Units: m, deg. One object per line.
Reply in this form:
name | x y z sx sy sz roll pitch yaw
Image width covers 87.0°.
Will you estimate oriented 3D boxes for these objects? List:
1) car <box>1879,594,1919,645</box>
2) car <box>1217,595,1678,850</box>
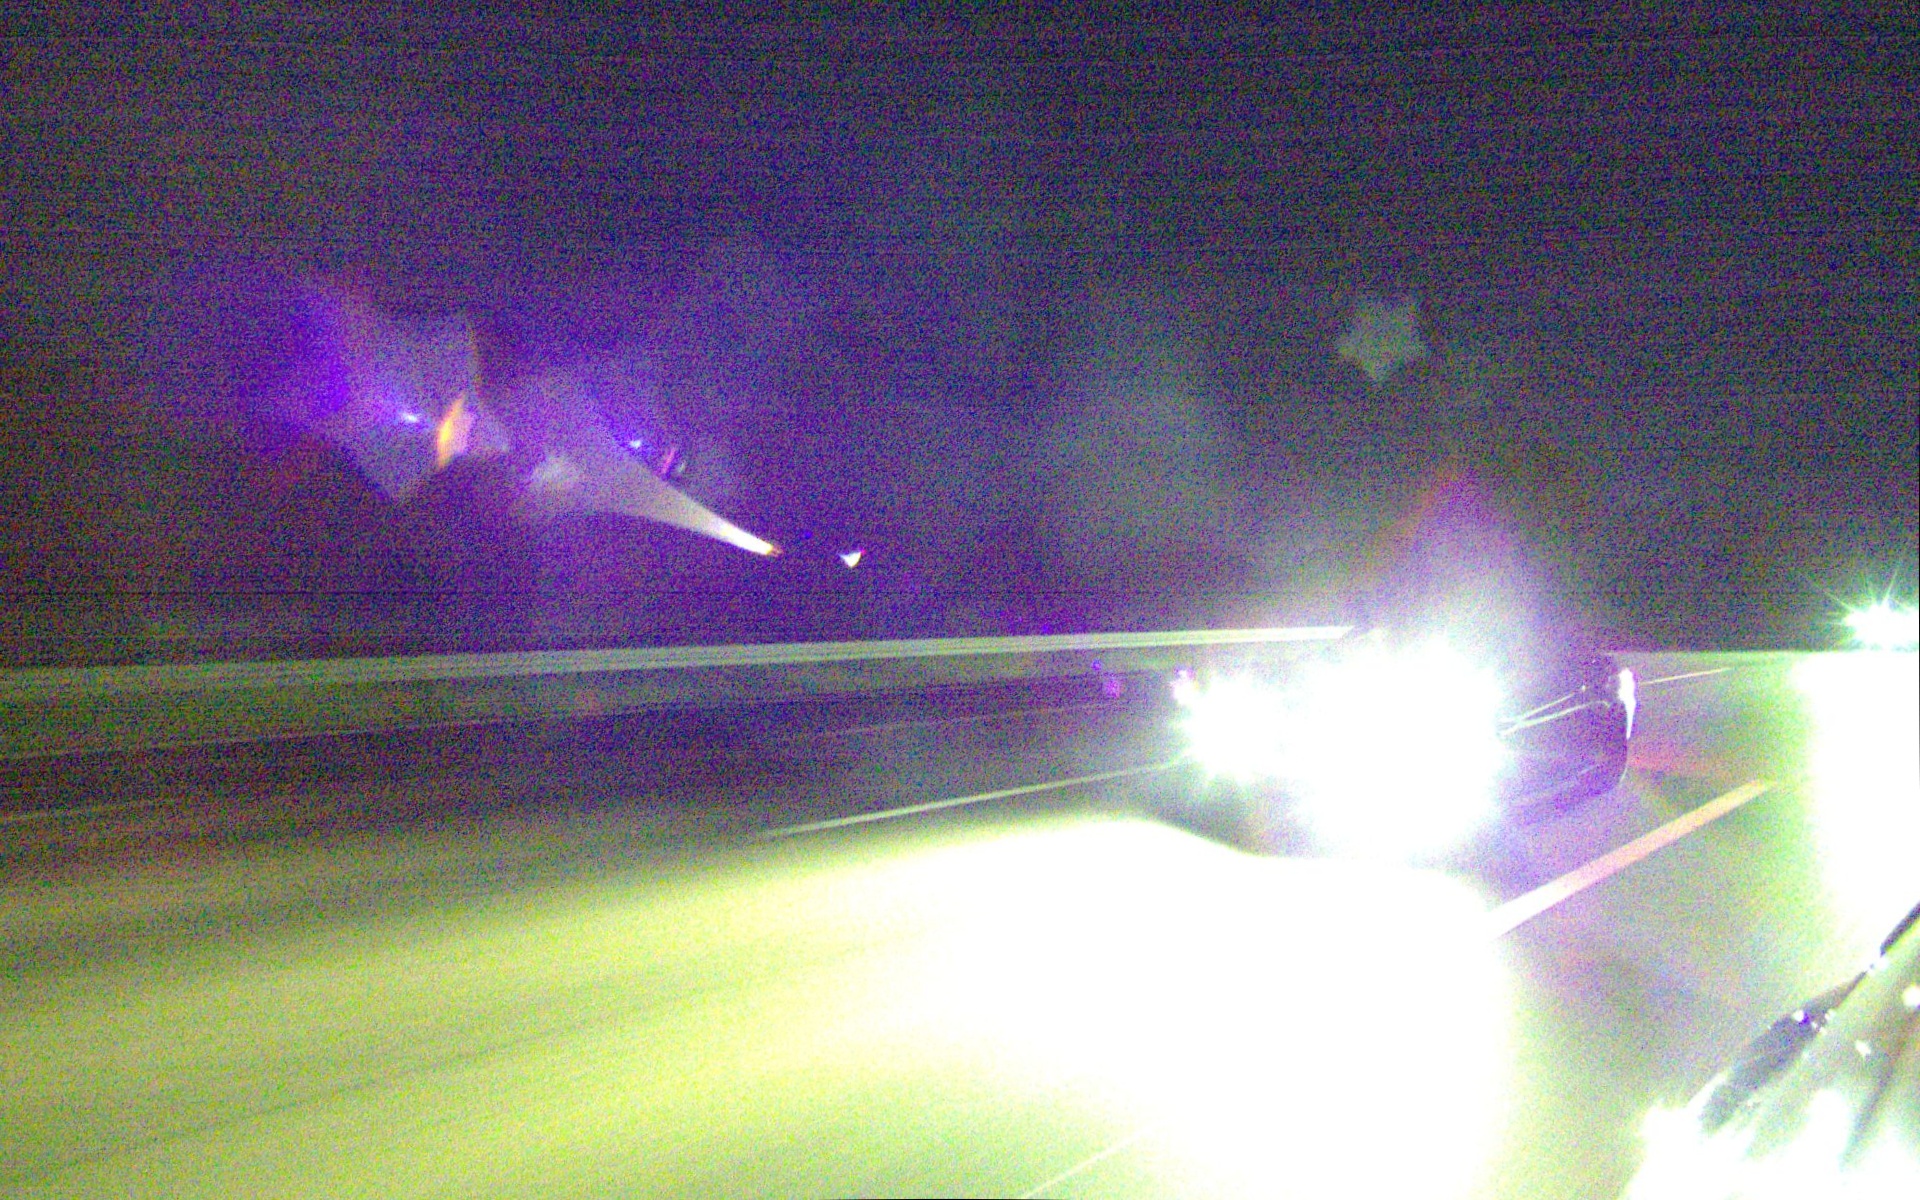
car | 30.740 0.592 32.163 4.151 1.560 1.793 0 0 -41
car | 3.935 0.699 7.844 4.151 1.431 1.689 0 2 -41
